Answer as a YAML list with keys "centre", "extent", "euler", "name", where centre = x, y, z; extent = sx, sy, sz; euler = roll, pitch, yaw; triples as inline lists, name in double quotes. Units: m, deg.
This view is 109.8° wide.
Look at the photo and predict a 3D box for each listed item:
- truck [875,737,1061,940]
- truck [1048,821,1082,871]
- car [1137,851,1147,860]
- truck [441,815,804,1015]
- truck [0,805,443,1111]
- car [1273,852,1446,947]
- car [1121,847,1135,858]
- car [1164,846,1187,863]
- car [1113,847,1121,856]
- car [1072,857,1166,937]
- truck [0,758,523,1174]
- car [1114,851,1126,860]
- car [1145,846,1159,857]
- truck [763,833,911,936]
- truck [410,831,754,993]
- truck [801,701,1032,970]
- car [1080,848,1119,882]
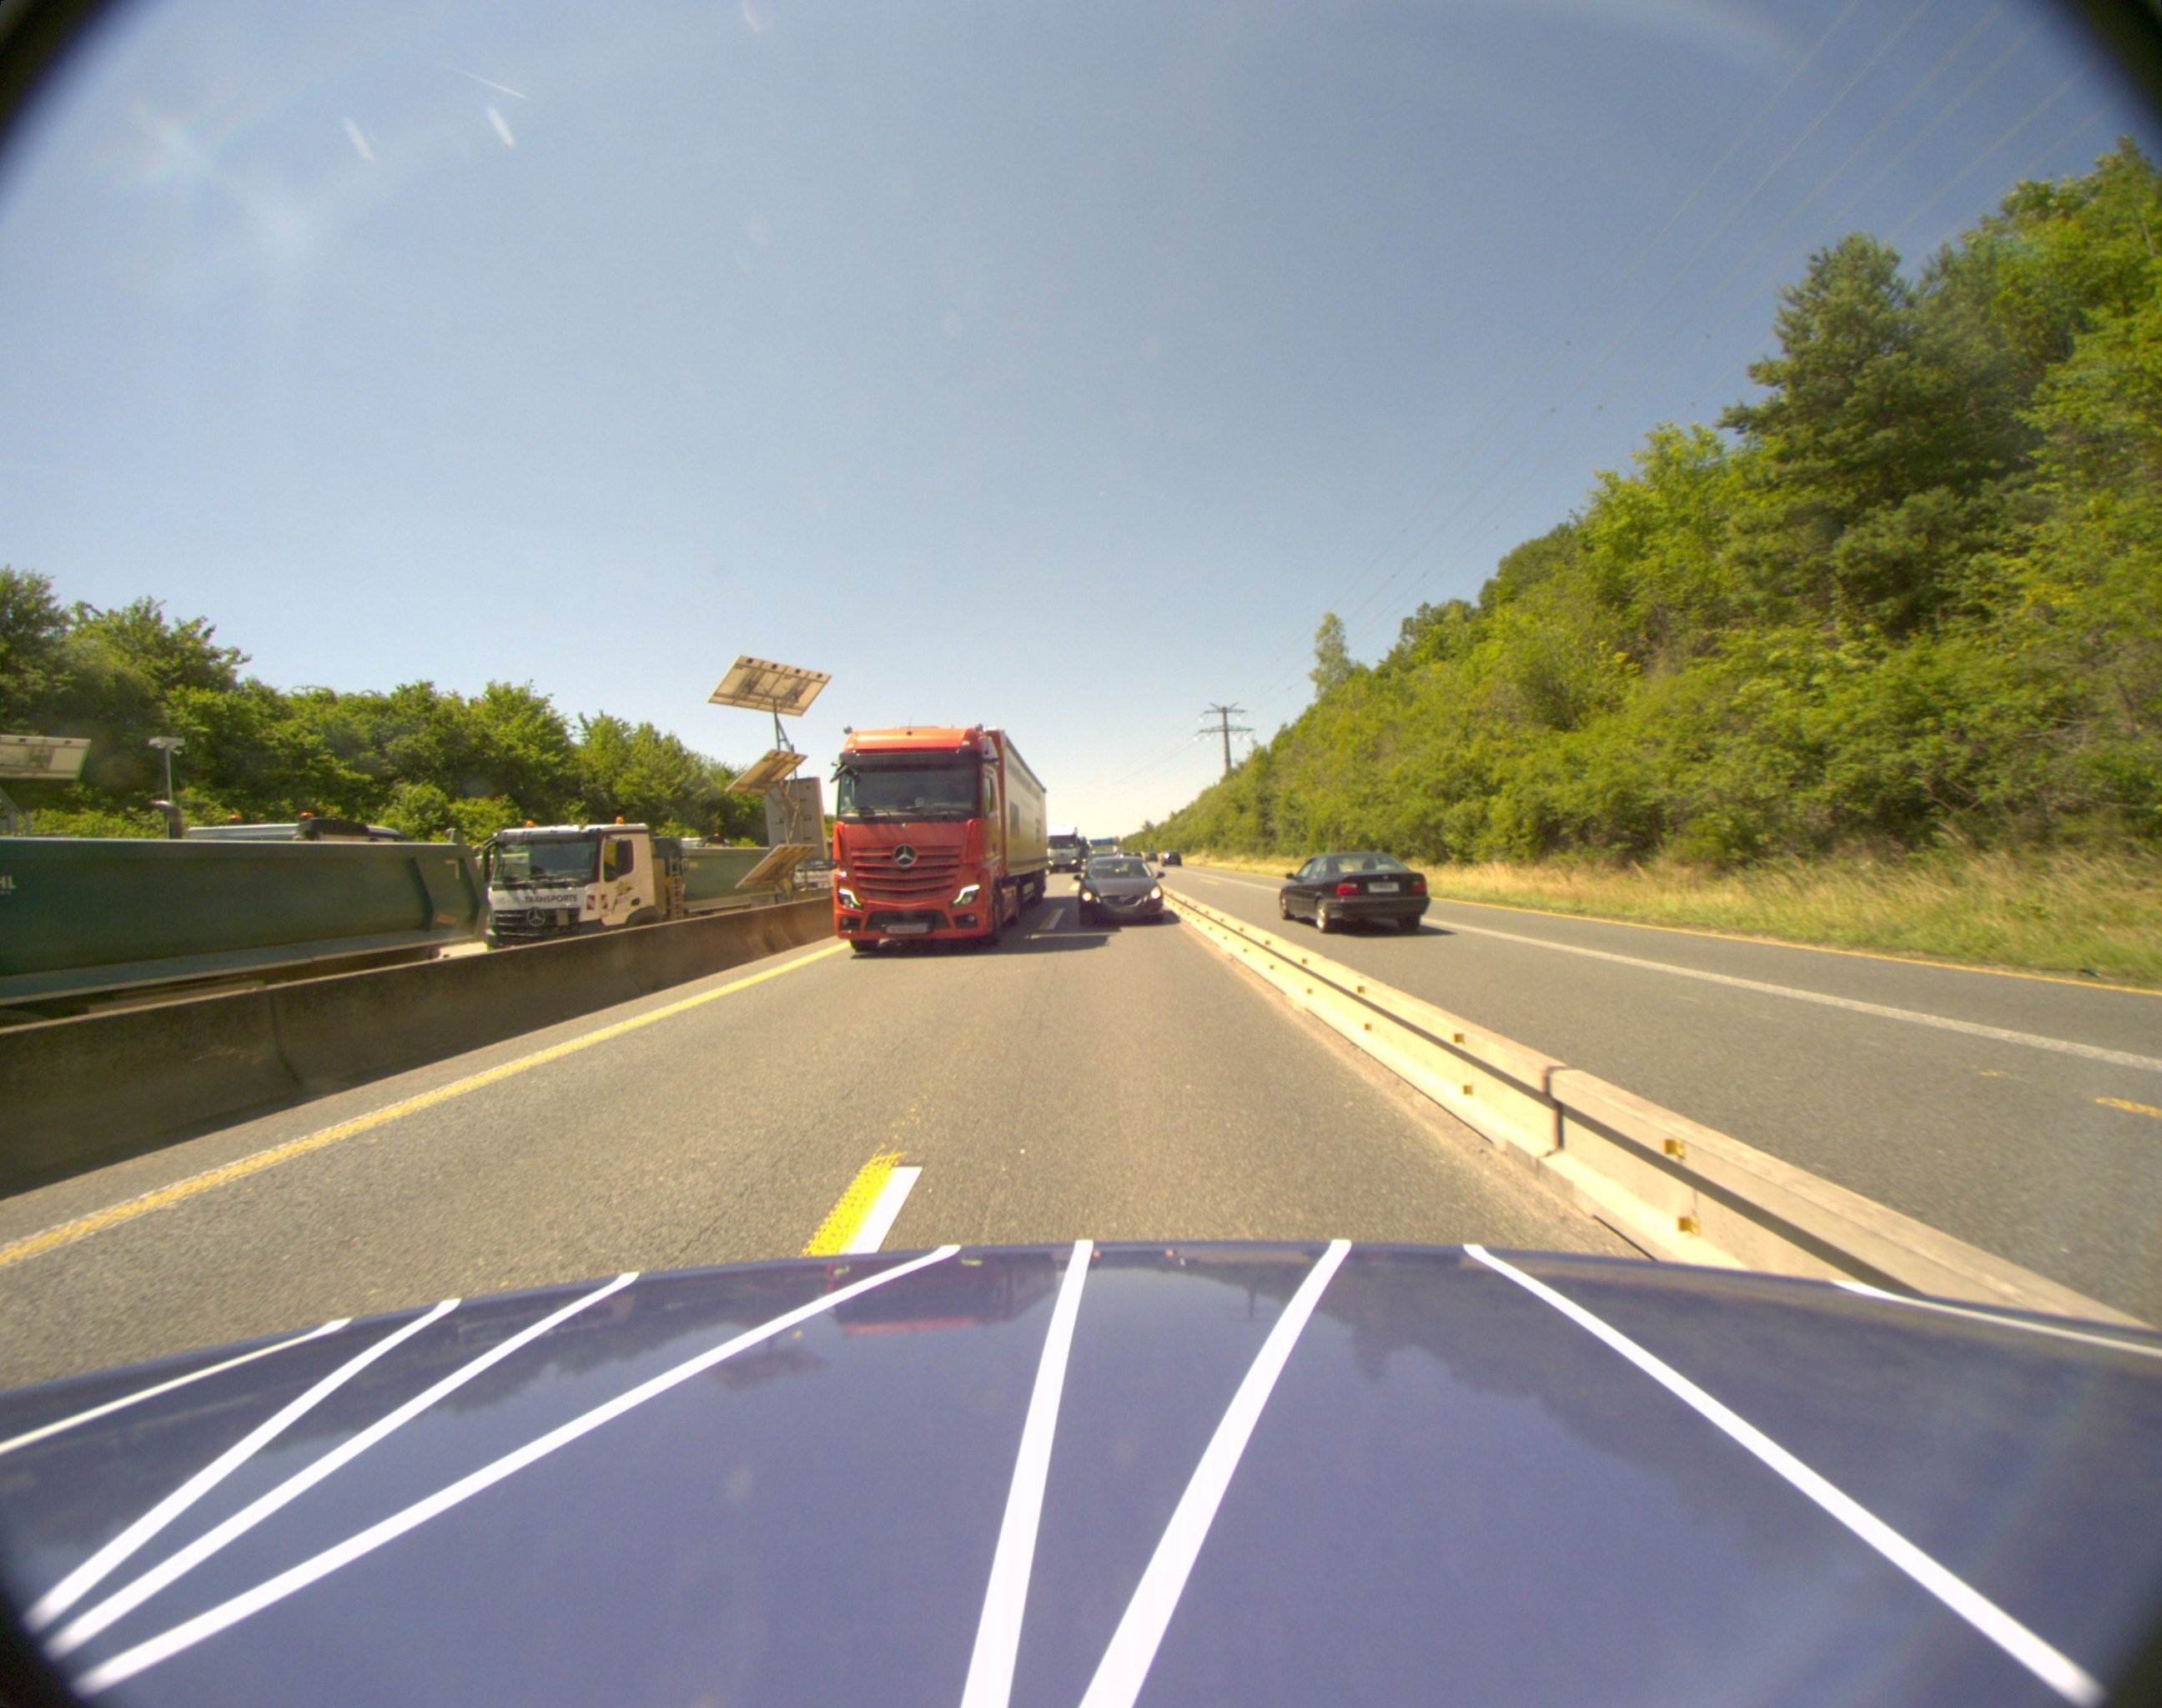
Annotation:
- centre: [-2.466, -0.401, 21.980]
  extent: [2.688, 3.987, 13.219]
  euler: [-3, 1, 2]
  name: "truck"
- centre: [-1.272, -0.672, 69.243]
  extent: [2.481, 4.030, 13.110]
  euler: [-2, 0, 1]
  name: "truck"
- centre: [11.714, 0.315, 146.216]
  extent: [1.704, 1.556, 3.995]
  euler: [-3, 0, 1]
  name: "car"
- centre: [-10.077, 1.087, 18.547]
  extent: [2.693, 3.536, 9.406]
  euler: [-2, 0, 2]
  name: "truck"
- centre: [-13.259, 1.191, 9.238]
  extent: [2.694, 3.358, 9.601]
  euler: [-2, 0, 0]
  name: "truck"
- centre: [4.886, 0.706, 13.952]
  extent: [1.678, 1.385, 4.070]
  euler: [-3, 1, 1]
  name: "car"
- centre: [7.203, -0.198, 115.971]
  extent: [1.848, 1.601, 4.699]
  euler: [-4, 0, 1]
  name: "car"
- centre: [9.354, 0.064, 75.503]
  extent: [1.782, 1.567, 4.069]
  euler: [-2, 0, 2]
  name: "car"
- centre: [9.173, -0.629, 192.545]
  extent: [1.895, 2.002, 4.818]
  euler: [-3, 0, 2]
  name: "car"
- centre: [0.863, 0.843, 16.979]
  extent: [1.766, 1.411, 4.699]
  euler: [-2, 1, 3]
  name: "car"
- centre: [-10.561, 0.990, 7.709]
  extent: [2.694, 3.536, 9.324]
  euler: [-2, 0, 0]
  name: "truck"
- centre: [7.037, 0.308, 136.794]
  extent: [1.848, 1.524, 4.671]
  euler: [-4, 0, 1]
  name: "car"
- centre: [10.351, -0.342, 110.758]
  extent: [1.727, 1.513, 4.185]
  euler: [-2, 0, 2]
  name: "car"
- centre: [-9.681, 1.042, 31.627]
  extent: [2.694, 3.536, 9.602]
  euler: [-2, 0, 1]
  name: "truck"
- centre: [-12.703, 1.207, 20.991]
  extent: [2.693, 3.358, 9.603]
  euler: [-2, 0, 2]
  name: "truck"
- centre: [-2.733, -0.300, 14.974]
  extent: [2.688, 3.987, 6.725]
  euler: [-3, 1, 2]
  name: "truck"
- centre: [0.973, 0.522, 39.045]
  extent: [1.767, 1.523, 4.699]
  euler: [-3, 1, 2]
  name: "car"
